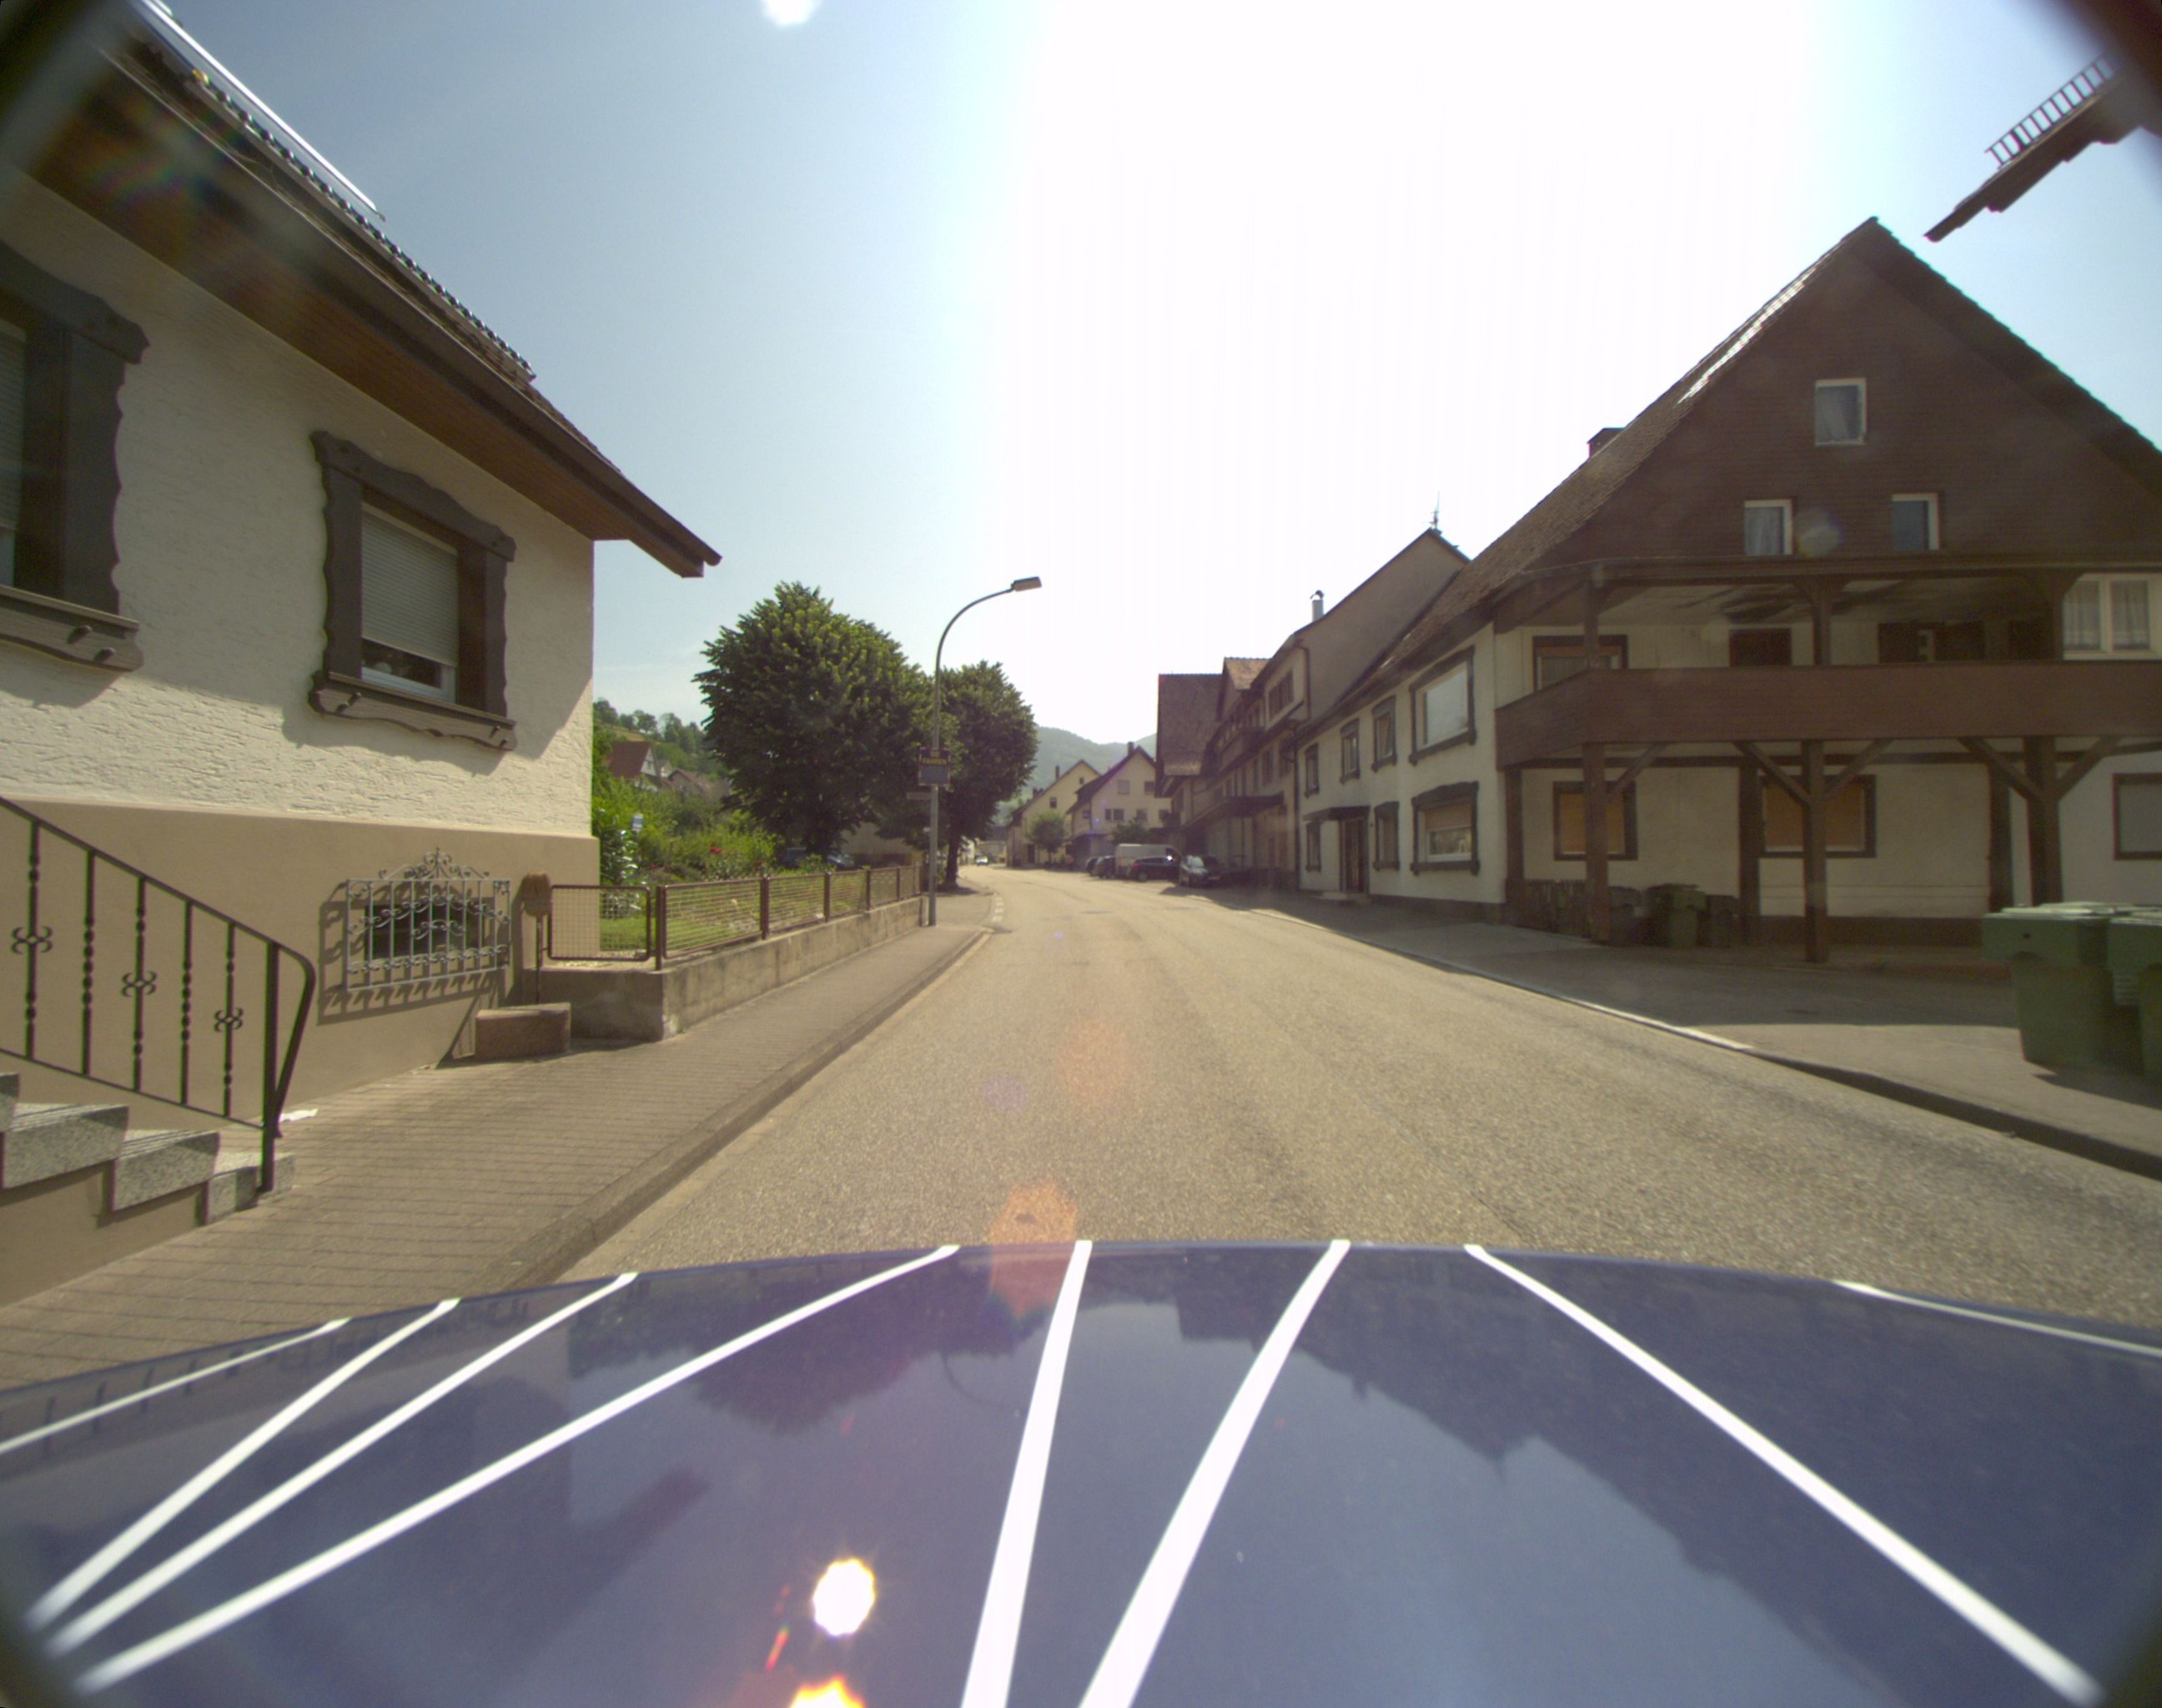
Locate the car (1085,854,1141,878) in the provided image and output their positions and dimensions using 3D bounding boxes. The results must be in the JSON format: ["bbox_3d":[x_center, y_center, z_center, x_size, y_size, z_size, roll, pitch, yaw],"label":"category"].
[{"bbox_3d":[2.341,0.849,55.142,3.996,1.563,1.577,1,0,2],"label":"car"}]

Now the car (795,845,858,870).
[{"bbox_3d":[-17.319,0.226,51.859,3.951,1.462,1.653,3,0,-15],"label":"car"}]

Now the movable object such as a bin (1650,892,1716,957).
[{"bbox_3d":[10.346,1.195,13.082,0.608,1.045,0.632,1,1,1],"label":"movable object such as a bin"}]

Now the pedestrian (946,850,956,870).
[{"bbox_3d":[-11.245,0.535,65.851,0.682,1.661,0.712,1,0,1],"label":"pedestrian"}]

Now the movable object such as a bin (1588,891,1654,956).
[{"bbox_3d":[9.364,1.196,13.186,0.623,1.045,0.696,1,1,1],"label":"movable object such as a bin"}]

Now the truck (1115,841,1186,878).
[{"bbox_3d":[4.364,0.328,48.215,4.178,2.253,1.999,-1,0,-4],"label":"truck"}]

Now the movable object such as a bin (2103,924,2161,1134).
[{"bbox_3d":[6.530,1.018,4.269,0.719,1.174,0.598,1,0,2],"label":"movable object such as a bin"}]

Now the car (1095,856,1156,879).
[{"bbox_3d":[3.038,0.914,52.172,3.998,1.444,1.627,1,0,-3],"label":"car"}]

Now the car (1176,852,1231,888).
[{"bbox_3d":[5.717,0.701,35.980,1.774,1.544,4.284,-1,0,-2],"label":"car"}]

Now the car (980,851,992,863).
[{"bbox_3d":[-17.638,0.569,141.036,2.000,2.002,3.997,-4,1,-7],"label":"car"}]

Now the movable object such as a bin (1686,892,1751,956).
[{"bbox_3d":[11.061,1.210,13.193,0.600,1.045,0.600,1,1,1],"label":"movable object such as a bin"}]

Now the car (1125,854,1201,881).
[{"bbox_3d":[4.634,0.758,43.166,4.105,1.494,1.753,0,0,-1],"label":"car"}]

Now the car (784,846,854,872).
[{"bbox_3d":[-16.039,0.322,46.690,3.847,1.398,1.564,3,0,-14],"label":"car"}]

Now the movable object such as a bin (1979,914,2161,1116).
[{"bbox_3d":[6.557,1.011,4.928,0.719,1.174,0.598,1,0,2],"label":"movable object such as a bin"}]
